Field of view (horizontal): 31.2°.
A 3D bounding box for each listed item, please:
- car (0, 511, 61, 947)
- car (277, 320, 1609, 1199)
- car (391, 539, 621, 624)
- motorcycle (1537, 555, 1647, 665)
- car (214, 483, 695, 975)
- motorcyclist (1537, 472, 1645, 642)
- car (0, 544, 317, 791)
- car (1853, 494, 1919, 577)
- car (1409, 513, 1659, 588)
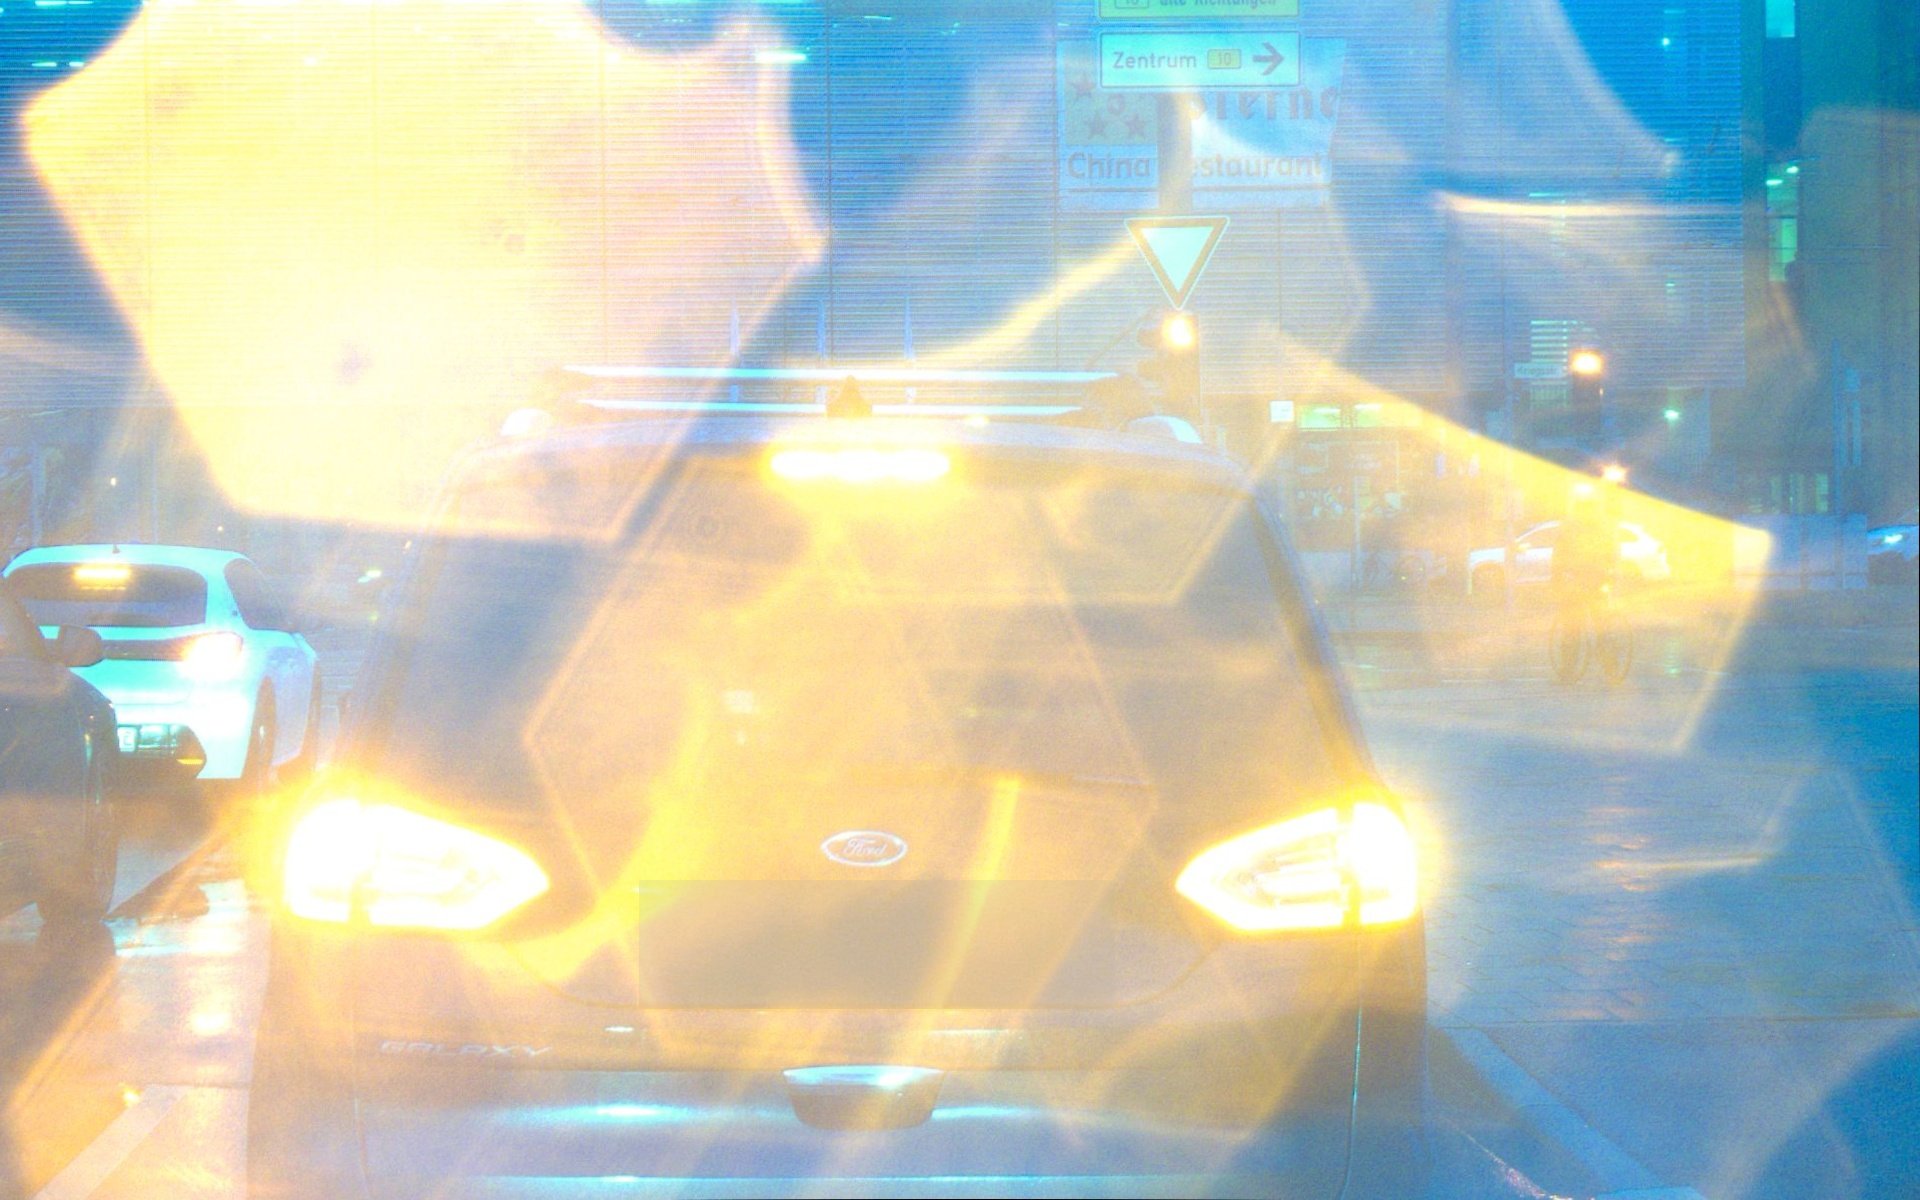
[{"bbox_3d":[-4.270,0.487,11.485,1.752,1.568,4.001,-1,1,-4],"label":"car"},{"bbox_3d":[-0.130,0.476,6.688,1.735,1.732,4.247,2,1,-3],"label":"car"},{"bbox_3d":[-8.938,-0.376,67.786,4.418,1.589,1.800,-1,1,-7],"label":"car"},{"bbox_3d":[5.805,0.082,31.662,0.853,0.968,1.581,0,1,5],"label":"motorcycle"},{"bbox_3d":[-1.902,0.423,13.716,1.636,1.691,3.671,1,1,-5],"label":"car"},{"bbox_3d":[5.806,-0.398,31.668,0.868,1.529,1.108,0,1,5],"label":"motorcyclist"},{"bbox_3d":[-4.528,0.308,19.524,1.540,1.247,4.069,0,1,-8],"label":"car"},{"bbox_3d":[19.850,-1.274,66.939,4.418,1.589,1.800,-1,1,-7],"label":"car"},{"bbox_3d":[11.071,-0.968,66.407,4.418,1.385,1.800,-1,1,-7],"label":"car"}]
